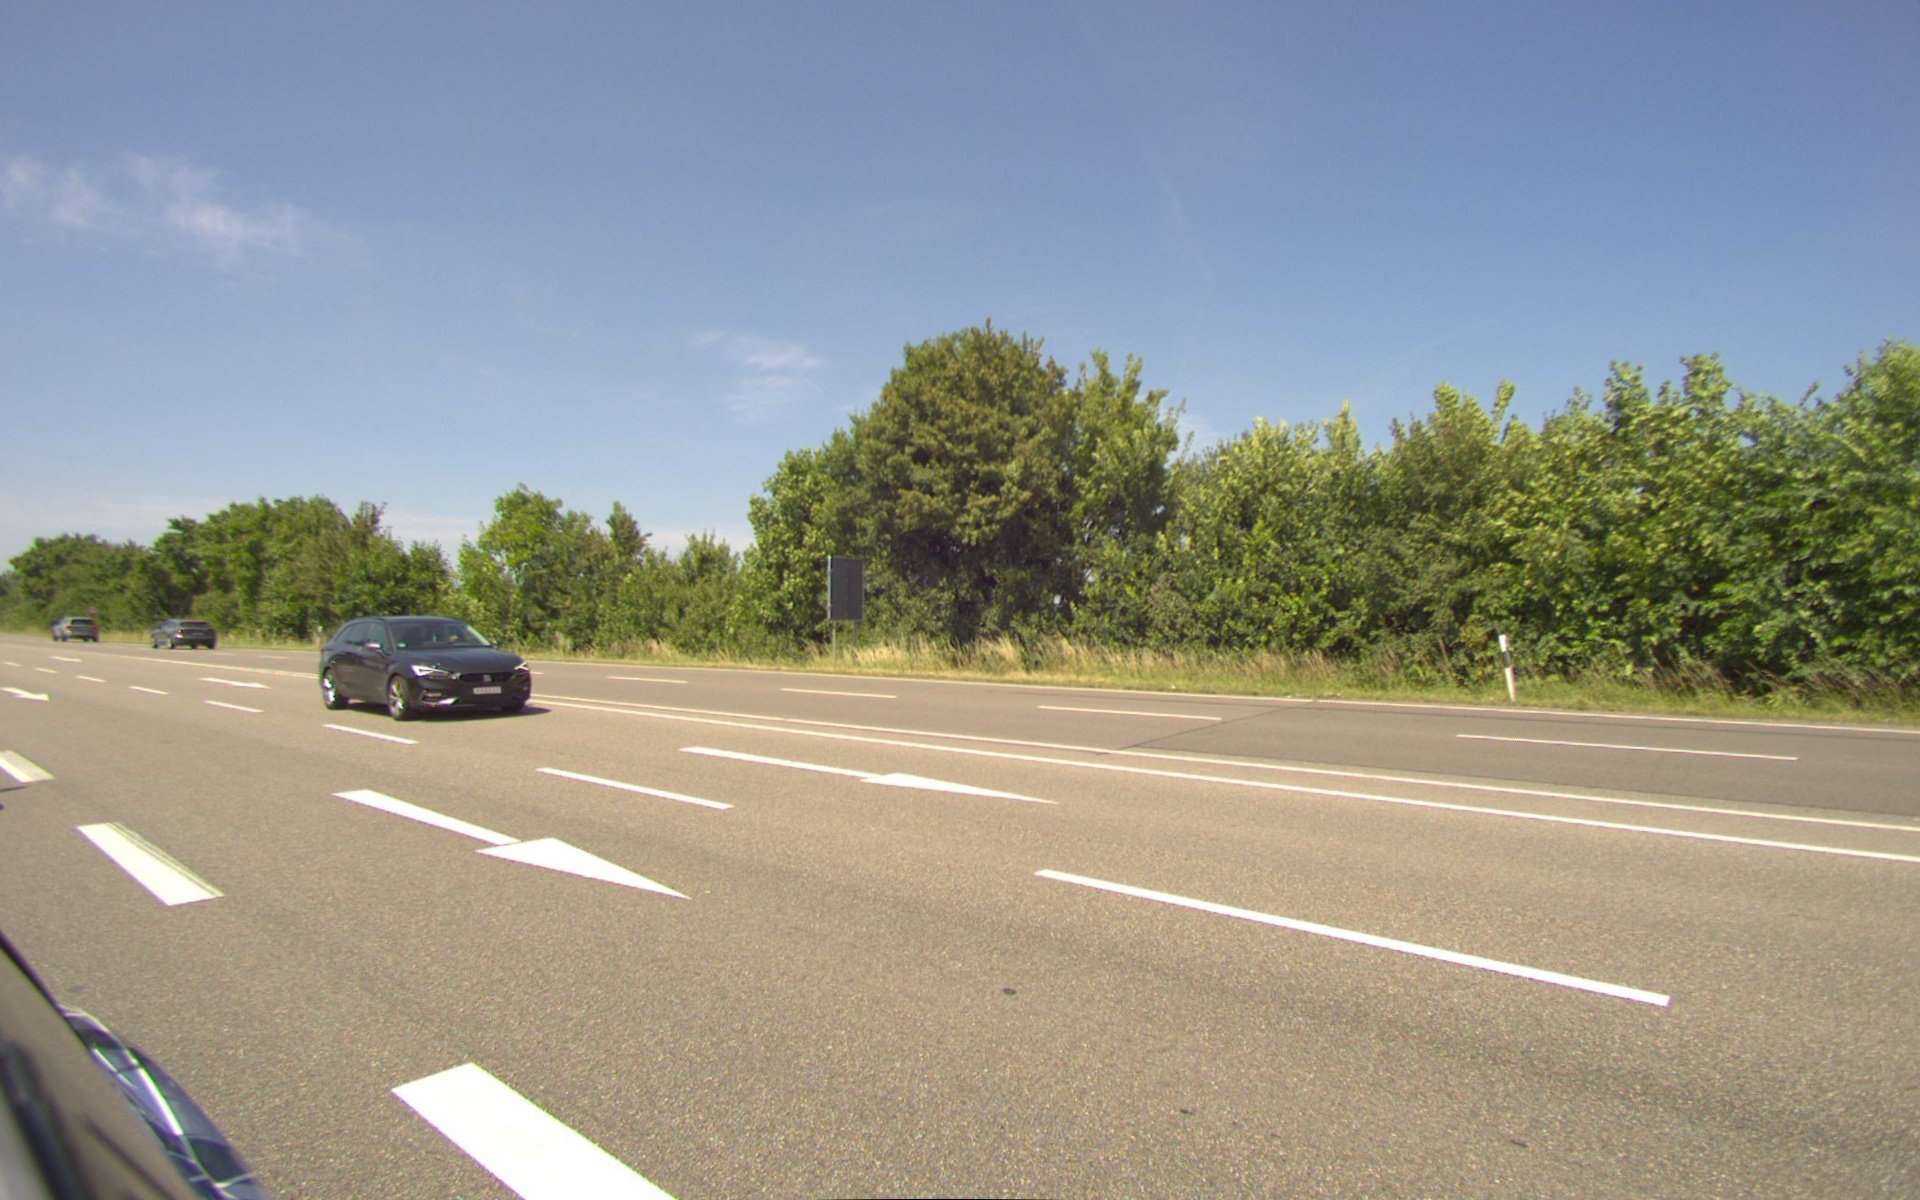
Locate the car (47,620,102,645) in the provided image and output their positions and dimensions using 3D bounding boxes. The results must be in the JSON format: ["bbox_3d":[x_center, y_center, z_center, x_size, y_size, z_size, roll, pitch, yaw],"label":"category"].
[{"bbox_3d":[-59.892,2.166,68.431,4.563,1.652,2.008,-1,0,39],"label":"car"}]

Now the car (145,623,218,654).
[{"bbox_3d":[-38.279,1.875,49.737,4.526,1.408,1.860,-1,-1,39],"label":"car"}]

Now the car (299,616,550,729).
[{"bbox_3d":[-8.250,0.979,15.426,4.523,1.458,1.869,-1,-1,41],"label":"car"}]
